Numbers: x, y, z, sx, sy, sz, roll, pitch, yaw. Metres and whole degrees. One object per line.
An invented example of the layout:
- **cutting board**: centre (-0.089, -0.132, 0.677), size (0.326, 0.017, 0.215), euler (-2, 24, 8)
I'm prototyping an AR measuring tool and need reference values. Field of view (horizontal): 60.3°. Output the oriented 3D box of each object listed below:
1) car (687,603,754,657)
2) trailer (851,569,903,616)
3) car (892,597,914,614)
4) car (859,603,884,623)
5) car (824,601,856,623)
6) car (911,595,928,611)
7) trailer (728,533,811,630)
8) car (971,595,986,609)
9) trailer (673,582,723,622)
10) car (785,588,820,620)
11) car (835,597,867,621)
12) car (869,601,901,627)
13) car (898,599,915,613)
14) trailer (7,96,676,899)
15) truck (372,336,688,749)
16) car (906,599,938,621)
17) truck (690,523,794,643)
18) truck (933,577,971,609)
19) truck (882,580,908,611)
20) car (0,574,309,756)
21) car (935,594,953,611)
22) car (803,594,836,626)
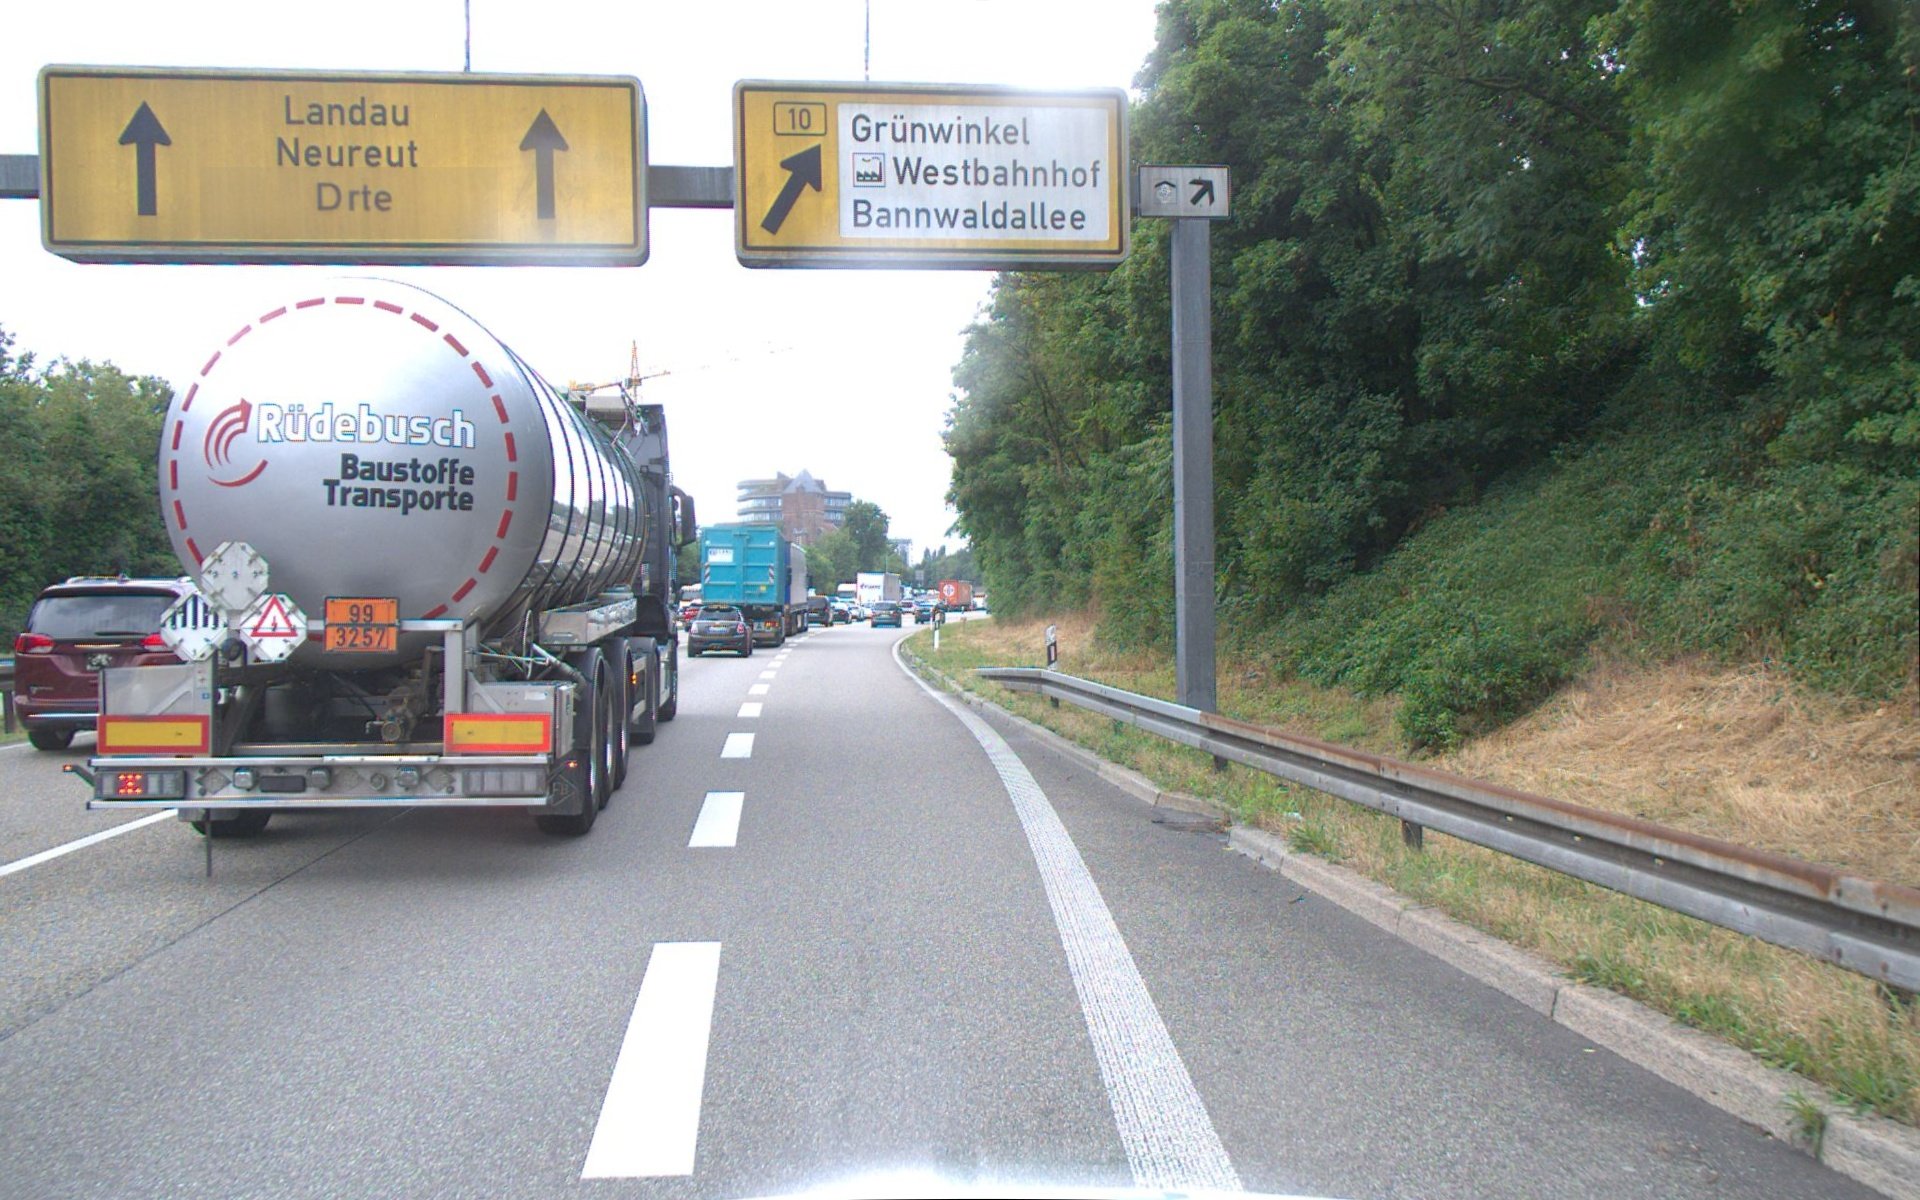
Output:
- **car**: centre (-6.841, 0.828, 47.492), size (1.714, 1.447, 3.659), euler (-1, 0, -6)
- **trailer**: centre (-7.522, -0.590, 152.077), size (3.229, 4.107, 13.103), euler (0, -1, 4)
- **car**: centre (-6.115, 0.609, 178.628), size (1.762, 1.632, 4.261), euler (-2, 1, 6)
- **car**: centre (-7.426, 1.085, 139.153), size (1.728, 1.504, 4.090), euler (-3, 0, 1)
- **car**: centre (-8.353, 0.817, 115.588), size (1.809, 1.485, 4.831), euler (-1, 0, 1)
- **car**: centre (-5.404, 0.399, 221.061), size (1.779, 2.049, 4.002), euler (-1, 0, 4)
- **trailer**: centre (-8.675, -0.733, 76.780), size (2.573, 4.093, 13.459), euler (0, -1, -1)
- **car**: centre (2.796, 0.230, 247.957), size (1.580, 2.049, 4.003), euler (-1, 0, 9)
- **trailer**: centre (-23.644, 0.162, 149.821), size (2.419, 3.455, 12.463), euler (-1, 0, 0)
- **car**: centre (-13.068, 0.322, 137.435), size (1.951, 2.598, 5.365), euler (-1, 0, 4)
- **car**: centre (-8.477, 0.684, 128.518), size (1.915, 1.724, 4.867), euler (-1, 0, 3)
- **car**: centre (-4.624, 0.833, 102.242), size (1.788, 1.508, 3.999), euler (-1, 0, -1)
- **car**: centre (-5.875, 0.663, 181.743), size (1.499, 1.579, 3.420), euler (-1, 0, 3)
- **trailer**: centre (-4.023, -0.533, 13.801), size (2.632, 3.975, 10.970), euler (-1, 0, -7)
- **truck**: centre (-4.729, -0.580, 19.519), size (2.632, 3.975, 6.925), euler (-1, 0, -7)
- **car**: centre (-2.711, 0.700, 118.450), size (1.786, 1.508, 4.003), euler (-1, 0, 5)
- **truck**: centre (-7.695, -0.576, 59.758), size (2.871, 3.863, 11.322), euler (-1, 0, -4)
- **truck**: centre (-0.990, -0.922, 223.281), size (3.415, 4.144, 13.602), euler (-1, 0, 7)
- **truck**: centre (-9.029, -0.581, 231.031), size (2.681, 4.211, 10.701), euler (0, -1, 3)
- **car**: centre (-8.527, 0.640, 17.829), size (1.840, 1.737, 3.994), euler (0, -1, -7)
- **car**: centre (-2.002, 0.339, 211.301), size (1.951, 2.049, 4.002), euler (-1, 0, 5)
- **car**: centre (-8.808, 0.618, 103.532), size (1.949, 1.931, 4.979), euler (-1, 0, -5)
